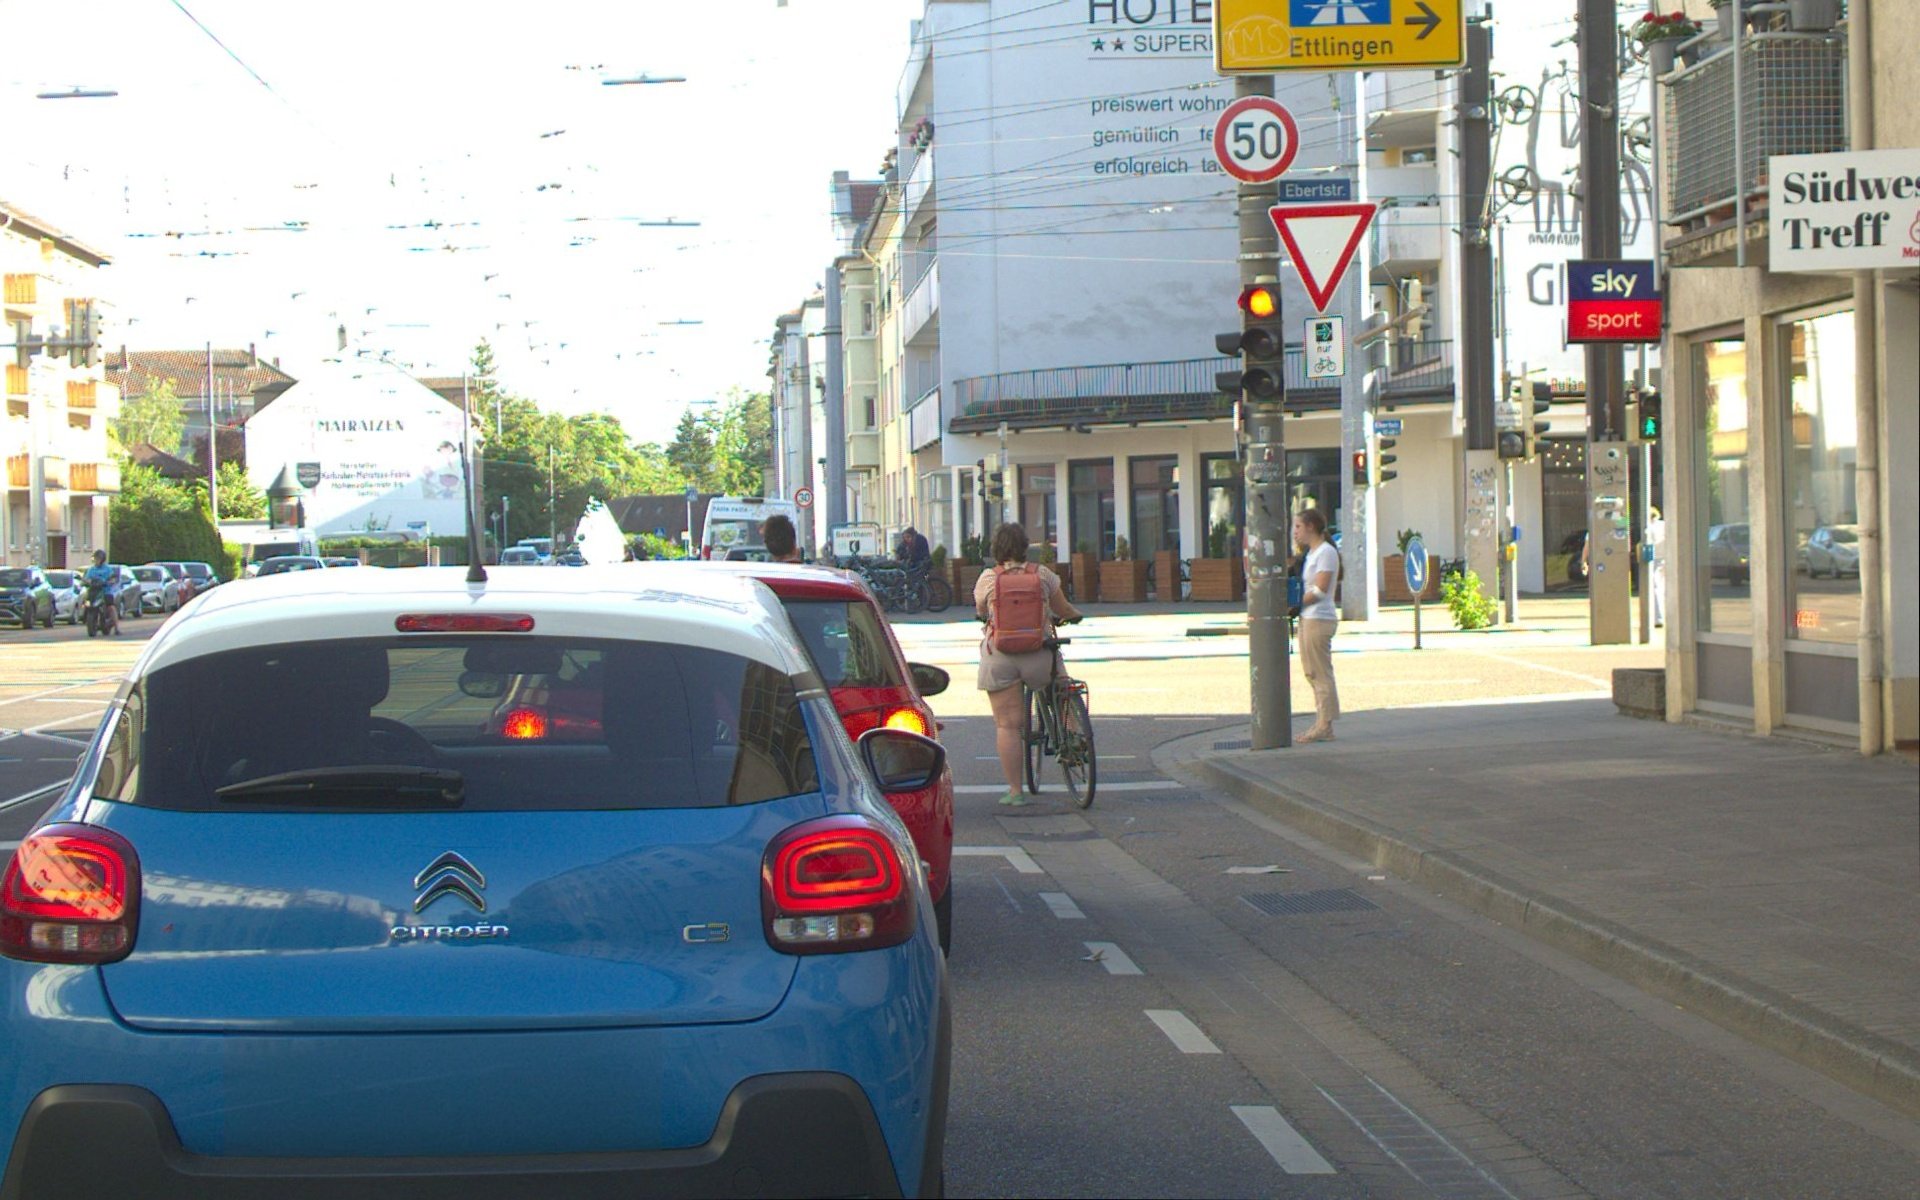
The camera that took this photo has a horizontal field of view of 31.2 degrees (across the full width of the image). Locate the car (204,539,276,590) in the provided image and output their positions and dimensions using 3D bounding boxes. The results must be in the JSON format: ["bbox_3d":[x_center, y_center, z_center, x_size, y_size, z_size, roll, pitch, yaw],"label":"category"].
[{"bbox_3d":[-24.399,-1.192,116.596,1.833,1.681,4.001,1,1,-4],"label":"car"}]

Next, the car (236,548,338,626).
[{"bbox_3d":[-14.934,-0.307,76.433,1.774,1.660,3.857,1,1,-4],"label":"car"}]

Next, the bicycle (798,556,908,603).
[{"bbox_3d":[-2.126,-0.409,68.316,2.132,0.898,0.367,1,0,-9],"label":"bicycle"}]

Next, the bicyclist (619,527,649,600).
[{"bbox_3d":[-6.665,-0.742,70.246,0.561,1.472,0.748,1,0,-7],"label":"bicyclist"}]

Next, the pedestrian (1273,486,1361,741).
[{"bbox_3d":[2.523,0.094,24.327,0.517,1.777,0.595,1,0,-2],"label":"pedestrian"}]

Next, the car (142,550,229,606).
[{"bbox_3d":[-23.844,-0.692,105.928,1.983,1.681,4.001,1,1,-3],"label":"car"}]

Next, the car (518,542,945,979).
[{"bbox_3d":[-0.795,0.536,13.196,1.424,1.462,2.924,-1,0,-1],"label":"car"}]

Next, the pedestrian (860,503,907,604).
[{"bbox_3d":[-1.540,-0.935,69.213,0.630,2.007,0.724,1,0,-36],"label":"pedestrian"}]

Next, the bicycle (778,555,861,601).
[{"bbox_3d":[-2.845,-0.441,69.378,1.785,0.898,0.366,1,1,34],"label":"bicycle"}]

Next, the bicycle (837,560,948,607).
[{"bbox_3d":[-1.318,-0.325,67.105,2.132,0.898,0.367,1,0,-9],"label":"bicycle"}]

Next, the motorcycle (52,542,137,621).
[{"bbox_3d":[-16.754,-0.364,66.642,0.923,1.481,3.726,1,1,-3],"label":"motorcycle"}]

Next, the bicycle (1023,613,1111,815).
[{"bbox_3d":[0.626,0.653,20.590,0.427,1.119,1.998,1,1,-1],"label":"bicycle"}]

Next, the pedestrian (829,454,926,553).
[{"bbox_3d":[-1.743,-2.036,73.522,1.993,2.007,4.000,1,1,-1],"label":"pedestrian"}]

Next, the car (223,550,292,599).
[{"bbox_3d":[-24.779,-0.894,121.324,1.846,1.681,3.875,1,1,-4],"label":"car"}]

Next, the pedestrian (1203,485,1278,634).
[{"bbox_3d":[3.831,-0.547,46.953,0.926,2.007,0.759,1,0,-1],"label":"pedestrian"}]

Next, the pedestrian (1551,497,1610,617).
[{"bbox_3d":[8.375,-0.579,46.388,0.736,1.595,0.748,1,0,13],"label":"pedestrian"}]

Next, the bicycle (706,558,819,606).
[{"bbox_3d":[-3.807,-0.350,66.226,2.132,0.898,0.367,1,0,-9],"label":"bicycle"}]

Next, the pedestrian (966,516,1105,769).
[{"bbox_3d":[0.439,0.245,20.258,0.777,1.455,0.682,1,0,-1],"label":"pedestrian"}]

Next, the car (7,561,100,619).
[{"bbox_3d":[-24.262,-0.279,92.115,1.732,1.493,4.001,1,1,-5],"label":"car"}]

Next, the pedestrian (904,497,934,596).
[{"bbox_3d":[-0.844,-1.089,70.334,0.577,2.007,0.626,1,0,-3],"label":"pedestrian"}]

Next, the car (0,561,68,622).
[{"bbox_3d":[-23.635,-0.232,86.077,1.785,1.493,4.001,1,1,-4],"label":"car"}]

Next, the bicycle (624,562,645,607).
[{"bbox_3d":[-6.651,-0.330,70.218,0.349,0.900,1.860,1,1,-8],"label":"bicycle"}]

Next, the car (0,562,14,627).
[{"bbox_3d":[-23.222,-0.134,79.199,1.787,1.506,4.150,1,1,-2],"label":"car"}]

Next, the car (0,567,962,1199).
[{"bbox_3d":[-0.853,0.664,7.179,1.654,1.439,3.523,1,1,-1],"label":"car"}]

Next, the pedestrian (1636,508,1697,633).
[{"bbox_3d":[9.451,-0.395,45.973,0.752,1.652,0.883,1,0,14],"label":"pedestrian"}]

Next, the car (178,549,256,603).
[{"bbox_3d":[-24.024,-0.782,111.267,1.882,1.681,4.001,1,1,-4],"label":"car"}]

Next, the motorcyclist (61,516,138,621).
[{"bbox_3d":[-16.791,-0.622,67.079,1.185,2.007,1.276,-1,1,-3],"label":"motorcyclist"}]

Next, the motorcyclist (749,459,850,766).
[{"bbox_3d":[-0.910,0.067,19.611,0.526,1.710,0.717,1,0,-1],"label":"motorcyclist"}]

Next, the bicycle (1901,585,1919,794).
[{"bbox_3d":[4.851,0.436,15.819,0.542,0.995,1.706,1,1,-1],"label":"bicycle"}]

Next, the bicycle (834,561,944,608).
[{"bbox_3d":[-1.394,-0.310,67.521,2.132,0.898,0.367,1,0,-9],"label":"bicycle"}]

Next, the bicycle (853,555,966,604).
[{"bbox_3d":[-0.972,-0.393,65.878,2.132,0.898,0.367,1,0,-9],"label":"bicycle"}]
